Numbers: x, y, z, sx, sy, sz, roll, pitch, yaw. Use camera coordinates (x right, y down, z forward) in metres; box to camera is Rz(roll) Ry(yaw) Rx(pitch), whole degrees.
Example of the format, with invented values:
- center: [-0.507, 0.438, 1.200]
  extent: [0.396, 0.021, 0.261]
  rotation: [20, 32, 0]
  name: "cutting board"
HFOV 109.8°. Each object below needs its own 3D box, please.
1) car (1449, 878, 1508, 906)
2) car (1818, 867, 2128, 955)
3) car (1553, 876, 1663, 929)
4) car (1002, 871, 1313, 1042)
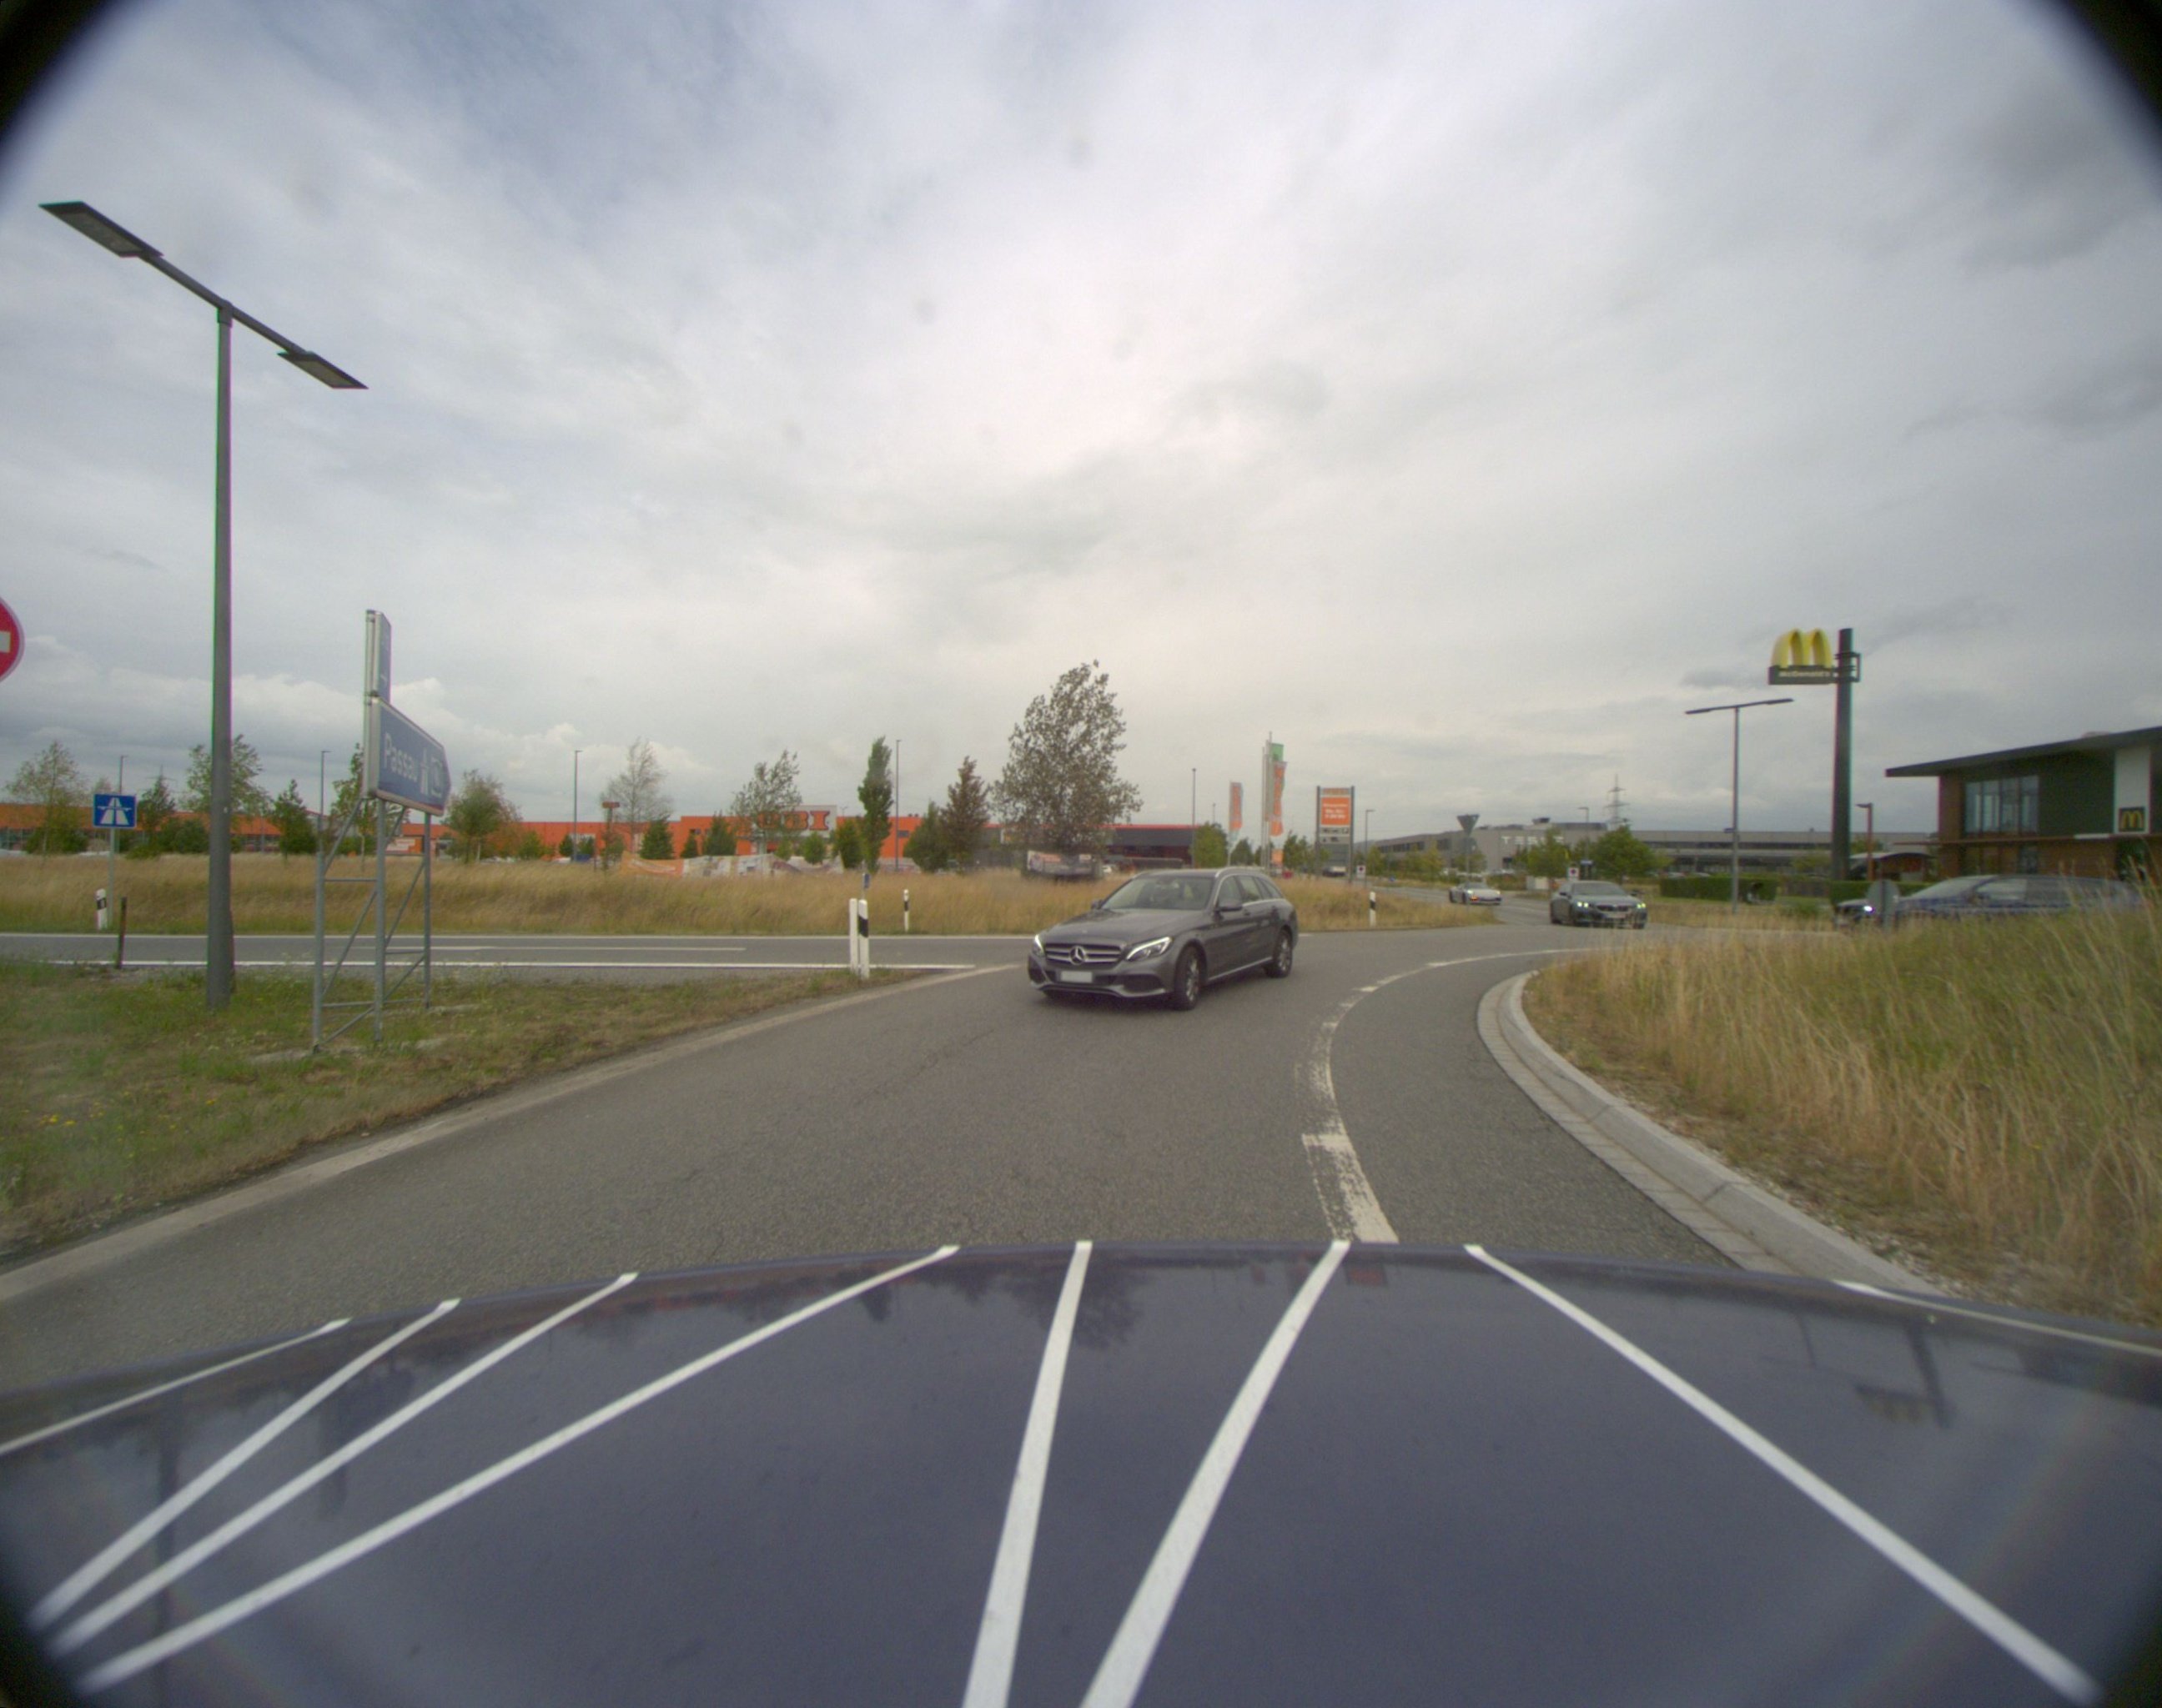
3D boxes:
- center: [22.725, 2.134, 43.618]
  extent: [1.825, 1.390, 4.739]
  rotation: [0, 0, 13]
  name: "car"
- center: [19.349, 1.238, 16.782]
  extent: [3.990, 1.709, 1.847]
  rotation: [-3, -1, 27]
  name: "car"
- center: [16.802, 1.481, 24.474]
  extent: [1.994, 1.495, 4.315]
  rotation: [-1, -1, 22]
  name: "car"
- center: [1.186, 0.996, 9.316]
  extent: [1.902, 1.488, 4.348]
  rotation: [0, 0, 35]
  name: "car"
